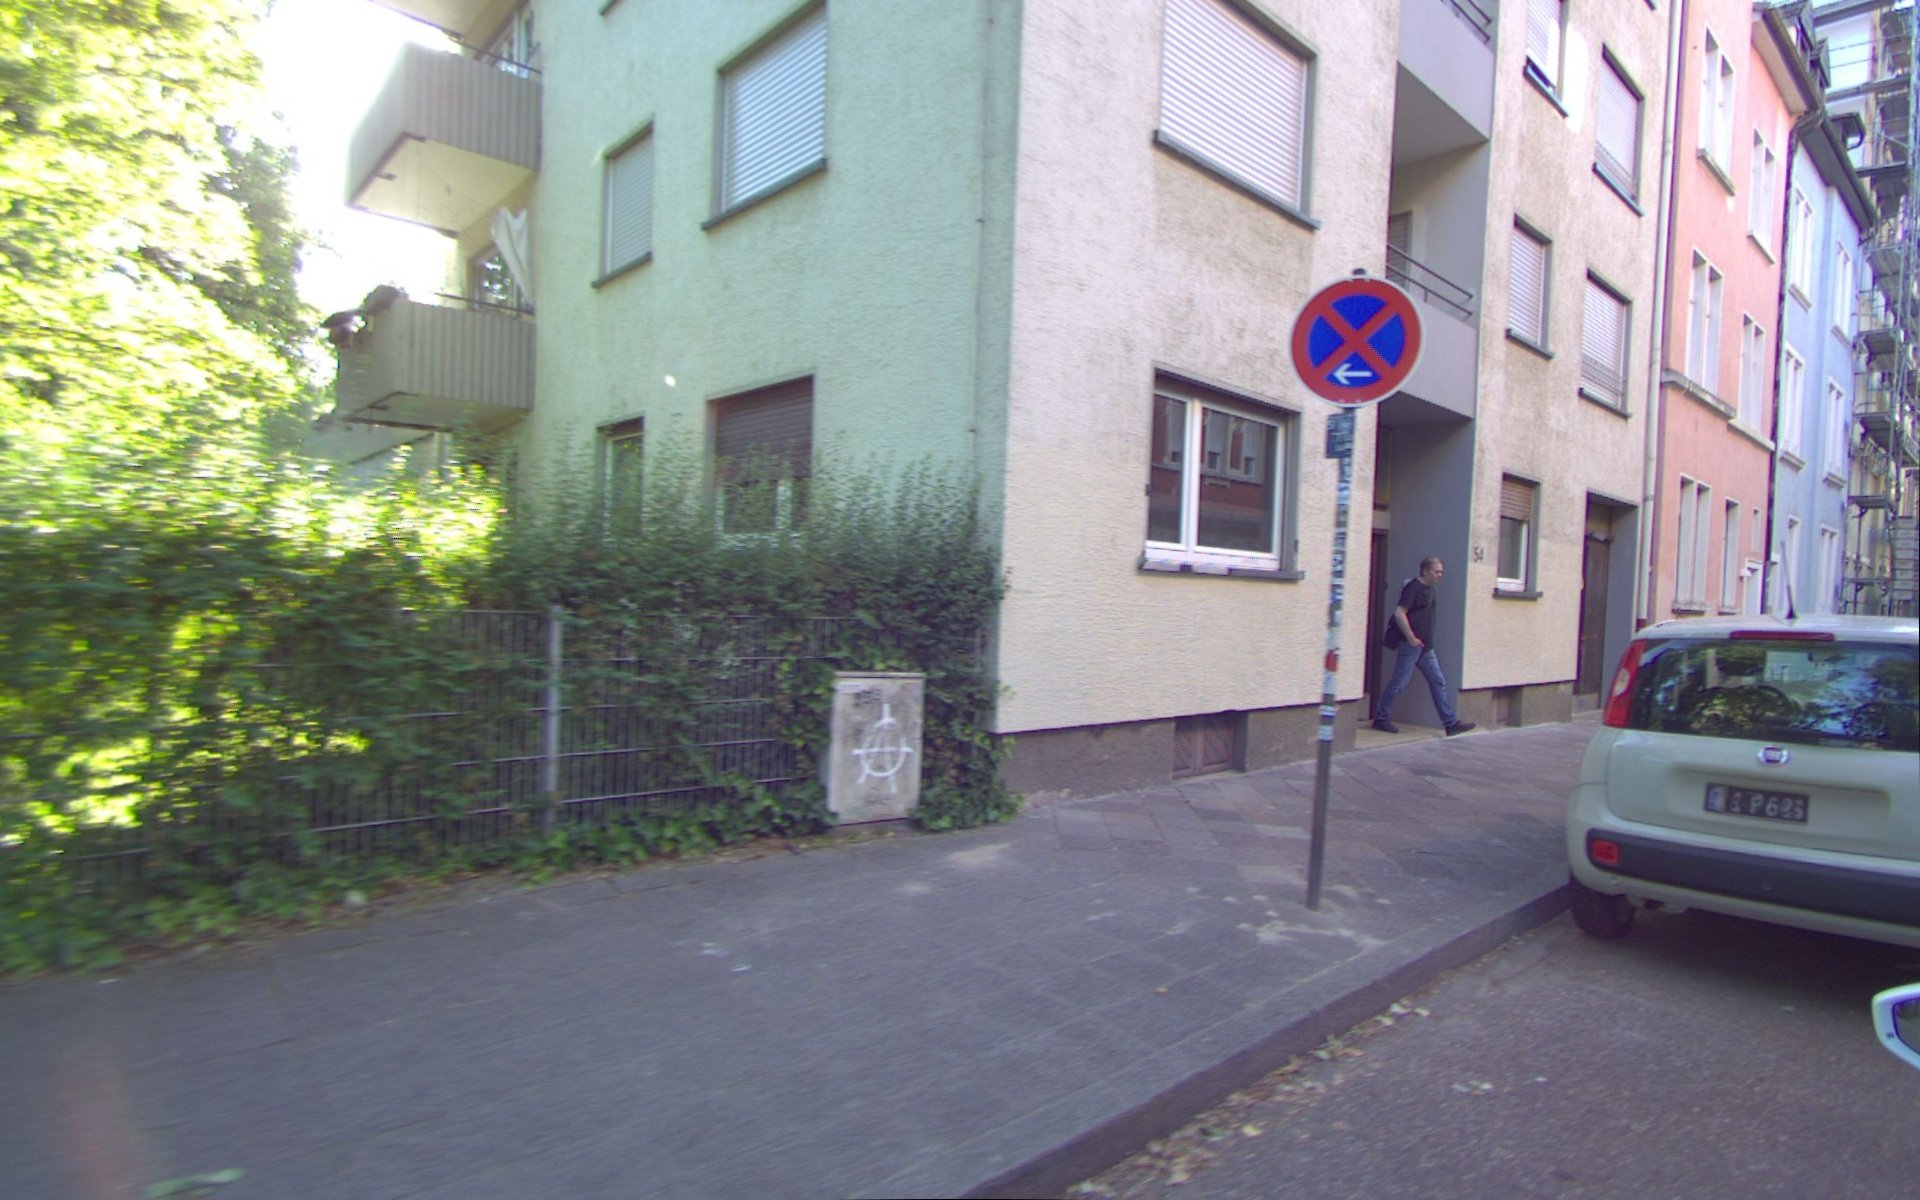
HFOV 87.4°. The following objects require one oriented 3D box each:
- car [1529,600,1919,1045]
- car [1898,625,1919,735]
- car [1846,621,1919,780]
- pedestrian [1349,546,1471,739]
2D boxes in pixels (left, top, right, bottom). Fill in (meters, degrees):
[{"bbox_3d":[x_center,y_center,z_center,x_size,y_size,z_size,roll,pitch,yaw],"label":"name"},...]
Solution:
[{"bbox_3d":[4.493,0.838,5.221,3.844,1.560,1.658,2,-1,-44],"label":"car"},{"bbox_3d":[15.400,1.187,14.997,4.382,1.532,1.659,2,0,-42],"label":"car"},{"bbox_3d":[11.255,1.054,11.227,4.349,1.560,1.712,2,-1,-44],"label":"car"},{"bbox_3d":[4.579,0.407,10.236,0.668,1.864,0.899,1,0,-41],"label":"pedestrian"}]
